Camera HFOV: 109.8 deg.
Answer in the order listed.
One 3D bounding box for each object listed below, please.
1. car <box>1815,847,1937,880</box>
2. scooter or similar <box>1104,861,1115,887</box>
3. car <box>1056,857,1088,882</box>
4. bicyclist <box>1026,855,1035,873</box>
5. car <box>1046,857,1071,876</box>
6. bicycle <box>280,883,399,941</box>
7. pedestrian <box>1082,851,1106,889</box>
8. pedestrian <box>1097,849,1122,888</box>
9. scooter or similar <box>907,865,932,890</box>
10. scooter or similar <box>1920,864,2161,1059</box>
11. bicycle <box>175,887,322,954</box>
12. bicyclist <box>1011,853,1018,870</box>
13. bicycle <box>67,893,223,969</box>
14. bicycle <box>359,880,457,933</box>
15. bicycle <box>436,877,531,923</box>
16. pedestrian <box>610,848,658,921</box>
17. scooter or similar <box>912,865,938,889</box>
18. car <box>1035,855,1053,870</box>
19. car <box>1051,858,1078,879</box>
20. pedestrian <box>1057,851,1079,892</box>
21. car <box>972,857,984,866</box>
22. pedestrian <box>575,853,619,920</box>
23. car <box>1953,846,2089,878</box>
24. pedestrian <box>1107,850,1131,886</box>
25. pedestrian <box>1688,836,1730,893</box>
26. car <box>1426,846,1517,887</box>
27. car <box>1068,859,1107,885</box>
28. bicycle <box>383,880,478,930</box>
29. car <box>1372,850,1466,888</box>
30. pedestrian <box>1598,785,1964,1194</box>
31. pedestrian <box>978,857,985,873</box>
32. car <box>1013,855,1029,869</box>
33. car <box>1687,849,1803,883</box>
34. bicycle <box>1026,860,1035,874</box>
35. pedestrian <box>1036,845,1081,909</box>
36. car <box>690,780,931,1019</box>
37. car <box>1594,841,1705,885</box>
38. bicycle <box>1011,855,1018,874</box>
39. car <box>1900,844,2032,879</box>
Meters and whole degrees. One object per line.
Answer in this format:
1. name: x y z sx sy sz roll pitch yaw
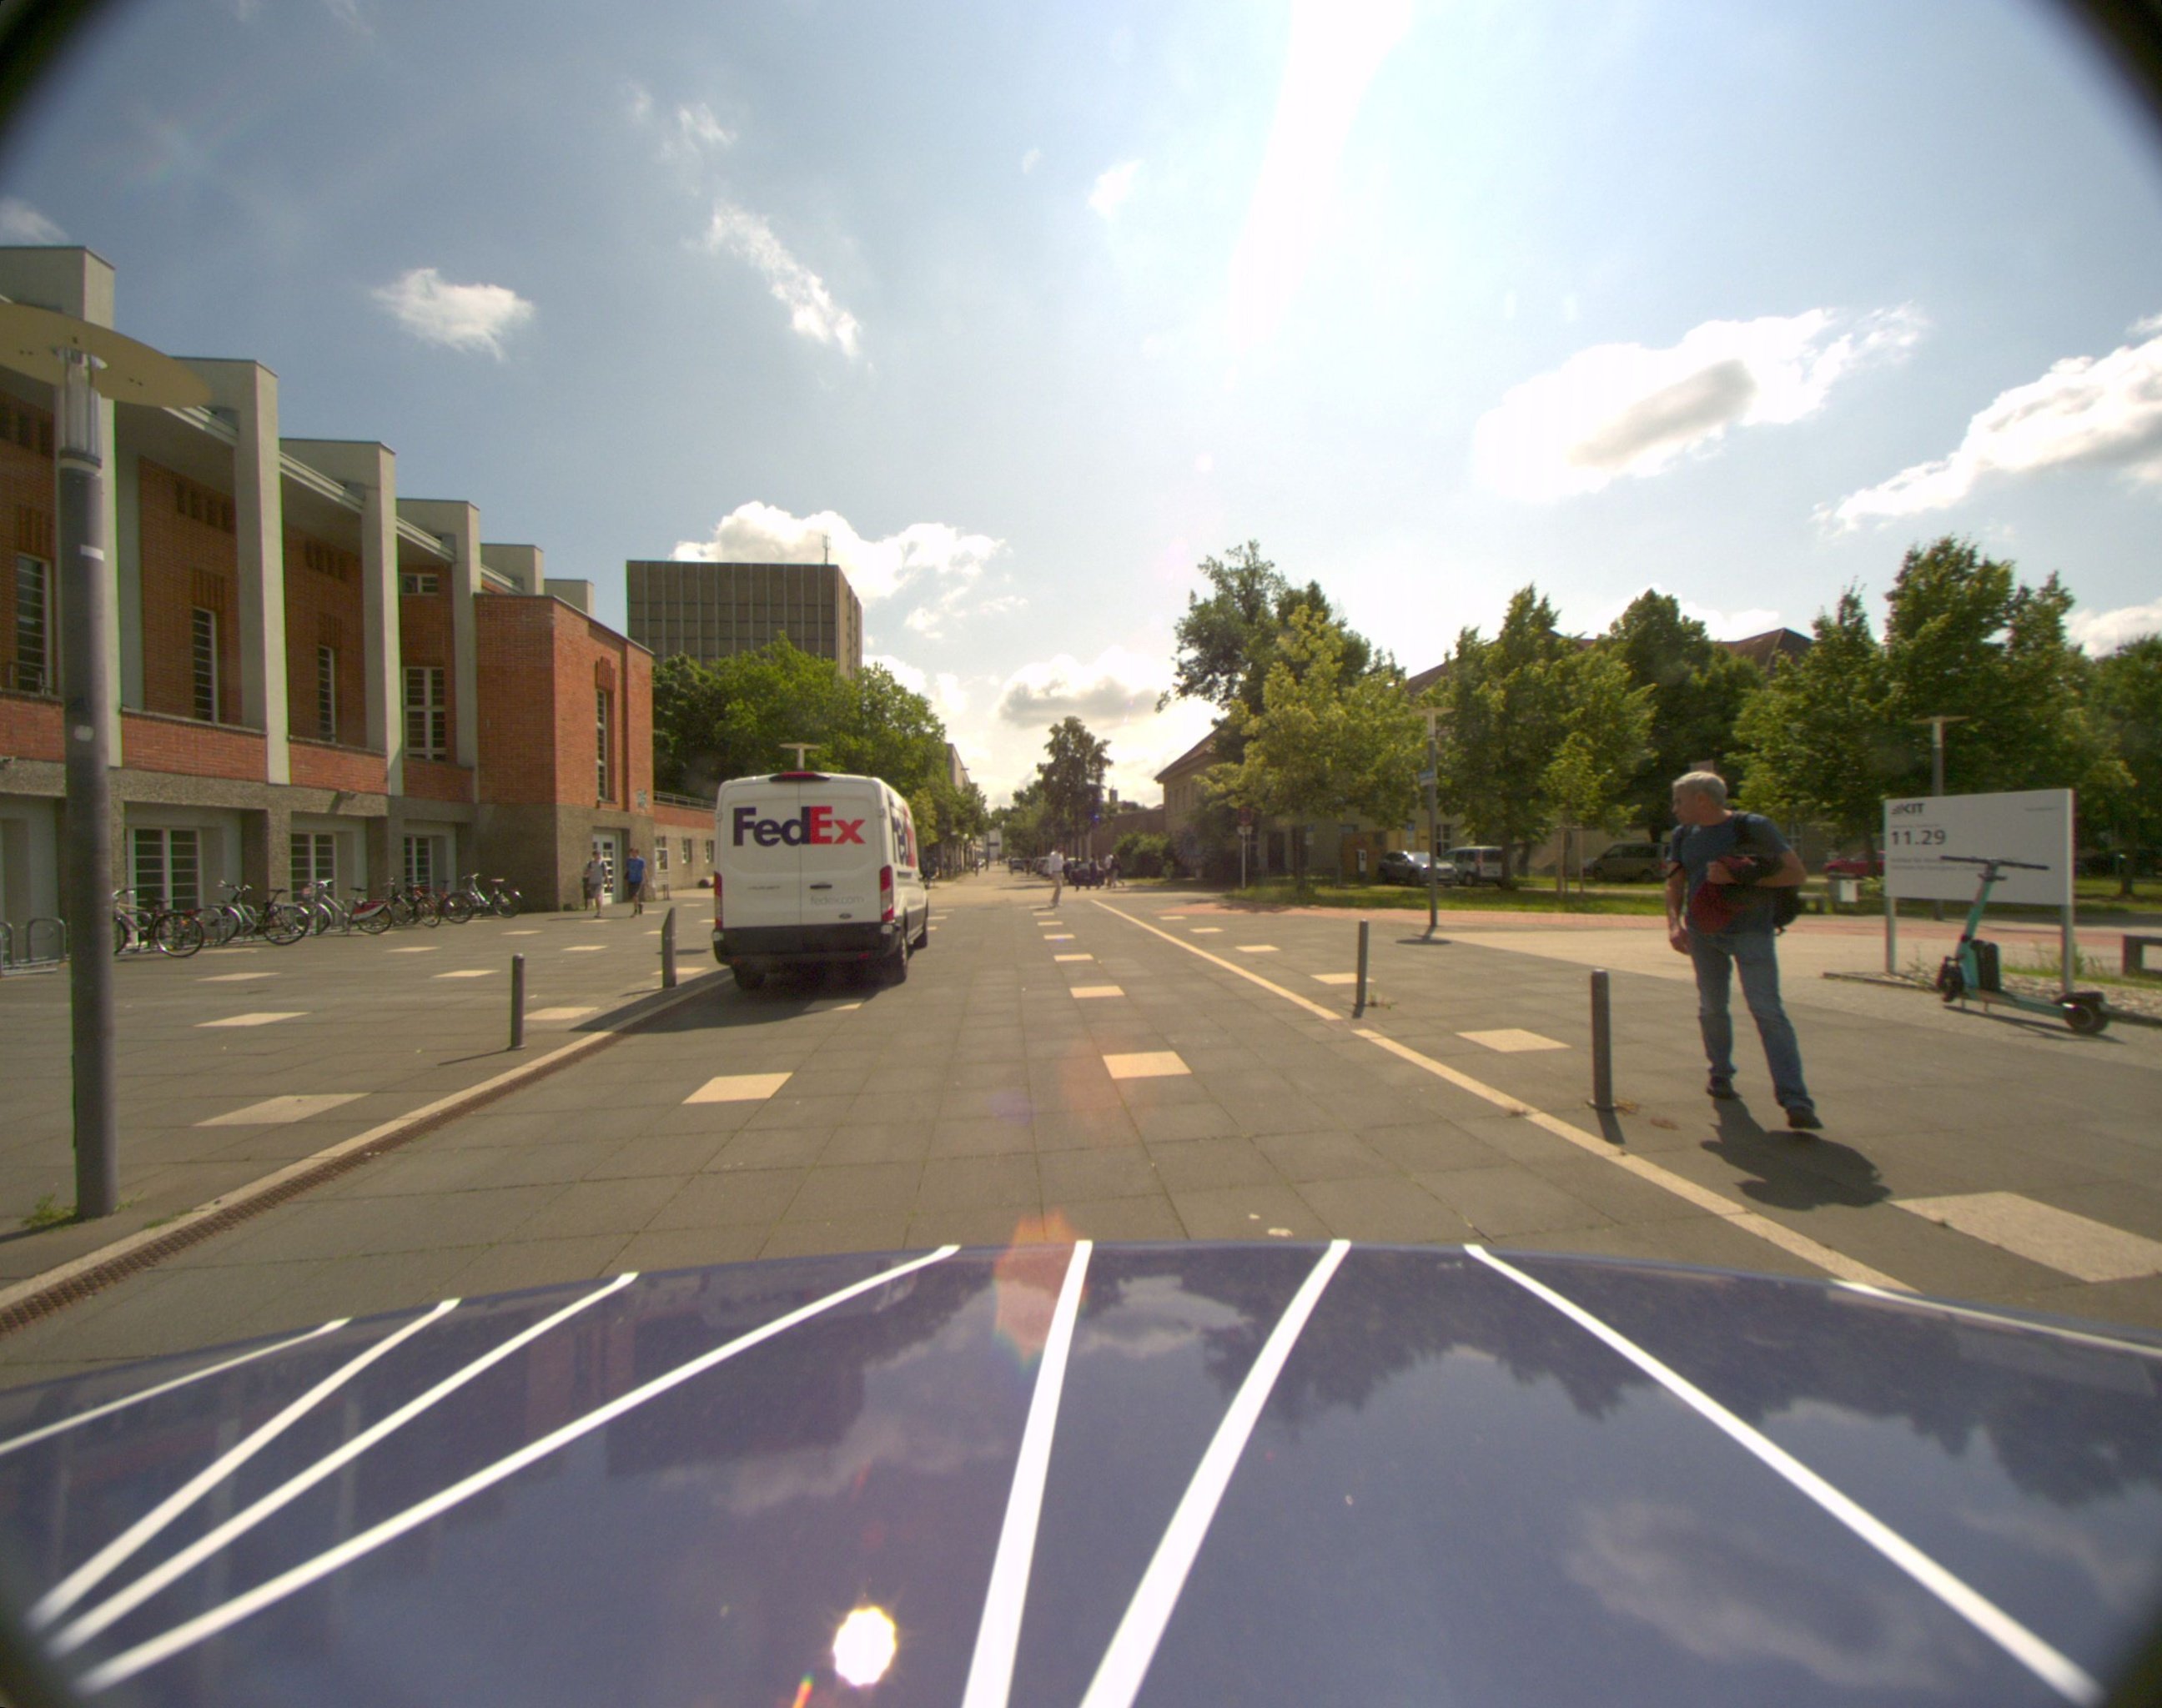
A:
1. car: 40.688 0.426 39.023 1.812 1.533 4.122 -1 1 -3
2. scooter or similar: 1.380 0.952 36.829 0.471 1.209 1.204 -1 0 0
3. car: -0.578 0.911 47.020 1.636 1.422 3.631 -1 0 -6
4. bicyclist: -4.436 0.858 66.856 0.630 1.596 1.328 -1 0 -7
5. car: -1.826 0.954 60.969 1.718 1.424 3.998 -1 0 -5
6. bicycle: -14.937 1.157 15.328 1.802 1.103 0.435 -1 1 -7
7. pedestrian: 0.594 0.728 35.020 0.623 1.706 1.002 0 0 -40
8. pedestrian: 1.339 0.670 35.477 0.898 1.776 0.728 0 1 36
9. scooter or similar: -8.327 1.197 39.153 1.140 1.236 0.577 0 0 29
10. scooter or similar: 7.123 0.715 5.622 0.483 1.255 1.314 -1 0 7
11. bicycle: -14.790 1.170 13.522 1.917 1.103 0.435 -1 1 -7
12. bicyclist: -5.834 0.659 66.433 0.588 1.444 1.233 -1 0 -4
13. bicycle: -14.575 1.180 11.861 1.688 1.103 0.435 -1 1 -7
14. bicycle: -15.000 1.160 16.956 1.655 1.103 0.435 -1 1 -7
15. bicycle: -15.258 1.162 19.445 1.936 1.103 0.456 -1 1 -7
16. pedestrian: -11.900 0.785 20.259 0.666 1.879 1.109 0 1 -6
17. scooter or similar: -8.201 1.196 39.922 1.261 1.225 0.577 0 0 29
18. car: -4.324 0.968 87.941 1.933 1.624 4.370 -1 0 -5
19. car: -1.170 0.966 52.652 1.649 1.368 3.998 -1 0 -5
20. pedestrian: -0.557 0.746 33.016 0.871 1.776 0.569 0 0 11
21. car: -18.118 1.330 134.030 2.000 1.648 3.997 -1 0 -7
22. pedestrian: -12.763 0.841 20.068 0.586 1.697 1.001 0 1 -7
23. car: 49.152 0.366 39.872 1.812 1.533 4.121 -1 1 -6
24. pedestrian: 1.820 0.669 36.042 0.970 1.706 0.559 -1 1 24
25. pedestrian: 20.416 0.339 24.713 0.871 1.778 0.636 0 6 25
26. car: 18.247 0.537 35.737 1.812 1.776 4.121 -1 1 -6
27. car: 0.308 0.942 40.482 1.701 1.287 3.760 -1 0 -5
28. bicycle: -15.079 1.174 17.648 1.699 1.103 0.435 -1 1 -7
29. car: 15.702 0.662 35.604 1.900 1.572 4.646 -1 1 -6
30. pedestrian: 3.551 0.593 3.980 0.826 1.807 1.143 -1 1 -11
31. pedestrian: -8.957 0.949 68.707 0.585 1.433 0.638 0 0 -4
32. car: -7.476 0.951 94.923 1.933 1.624 4.370 -1 0 -5
33. car: 32.435 0.542 37.302 1.812 1.533 4.121 -1 1 -6
34. bicycle: -4.435 1.131 66.834 0.626 1.135 1.811 -1 0 -7
35. pedestrian: -0.659 0.666 22.622 1.022 1.837 0.918 1 0 25
36. car: -3.447 0.476 11.050 2.065 2.528 5.845 -1 0 -7
37. car: 27.312 0.380 36.735 1.812 1.949 4.525 -1 1 -3
38. bicycle: -5.823 0.897 66.427 0.588 1.670 1.758 -1 0 -4
39. car: 45.544 0.345 39.264 1.812 1.657 4.121 -1 1 -6
